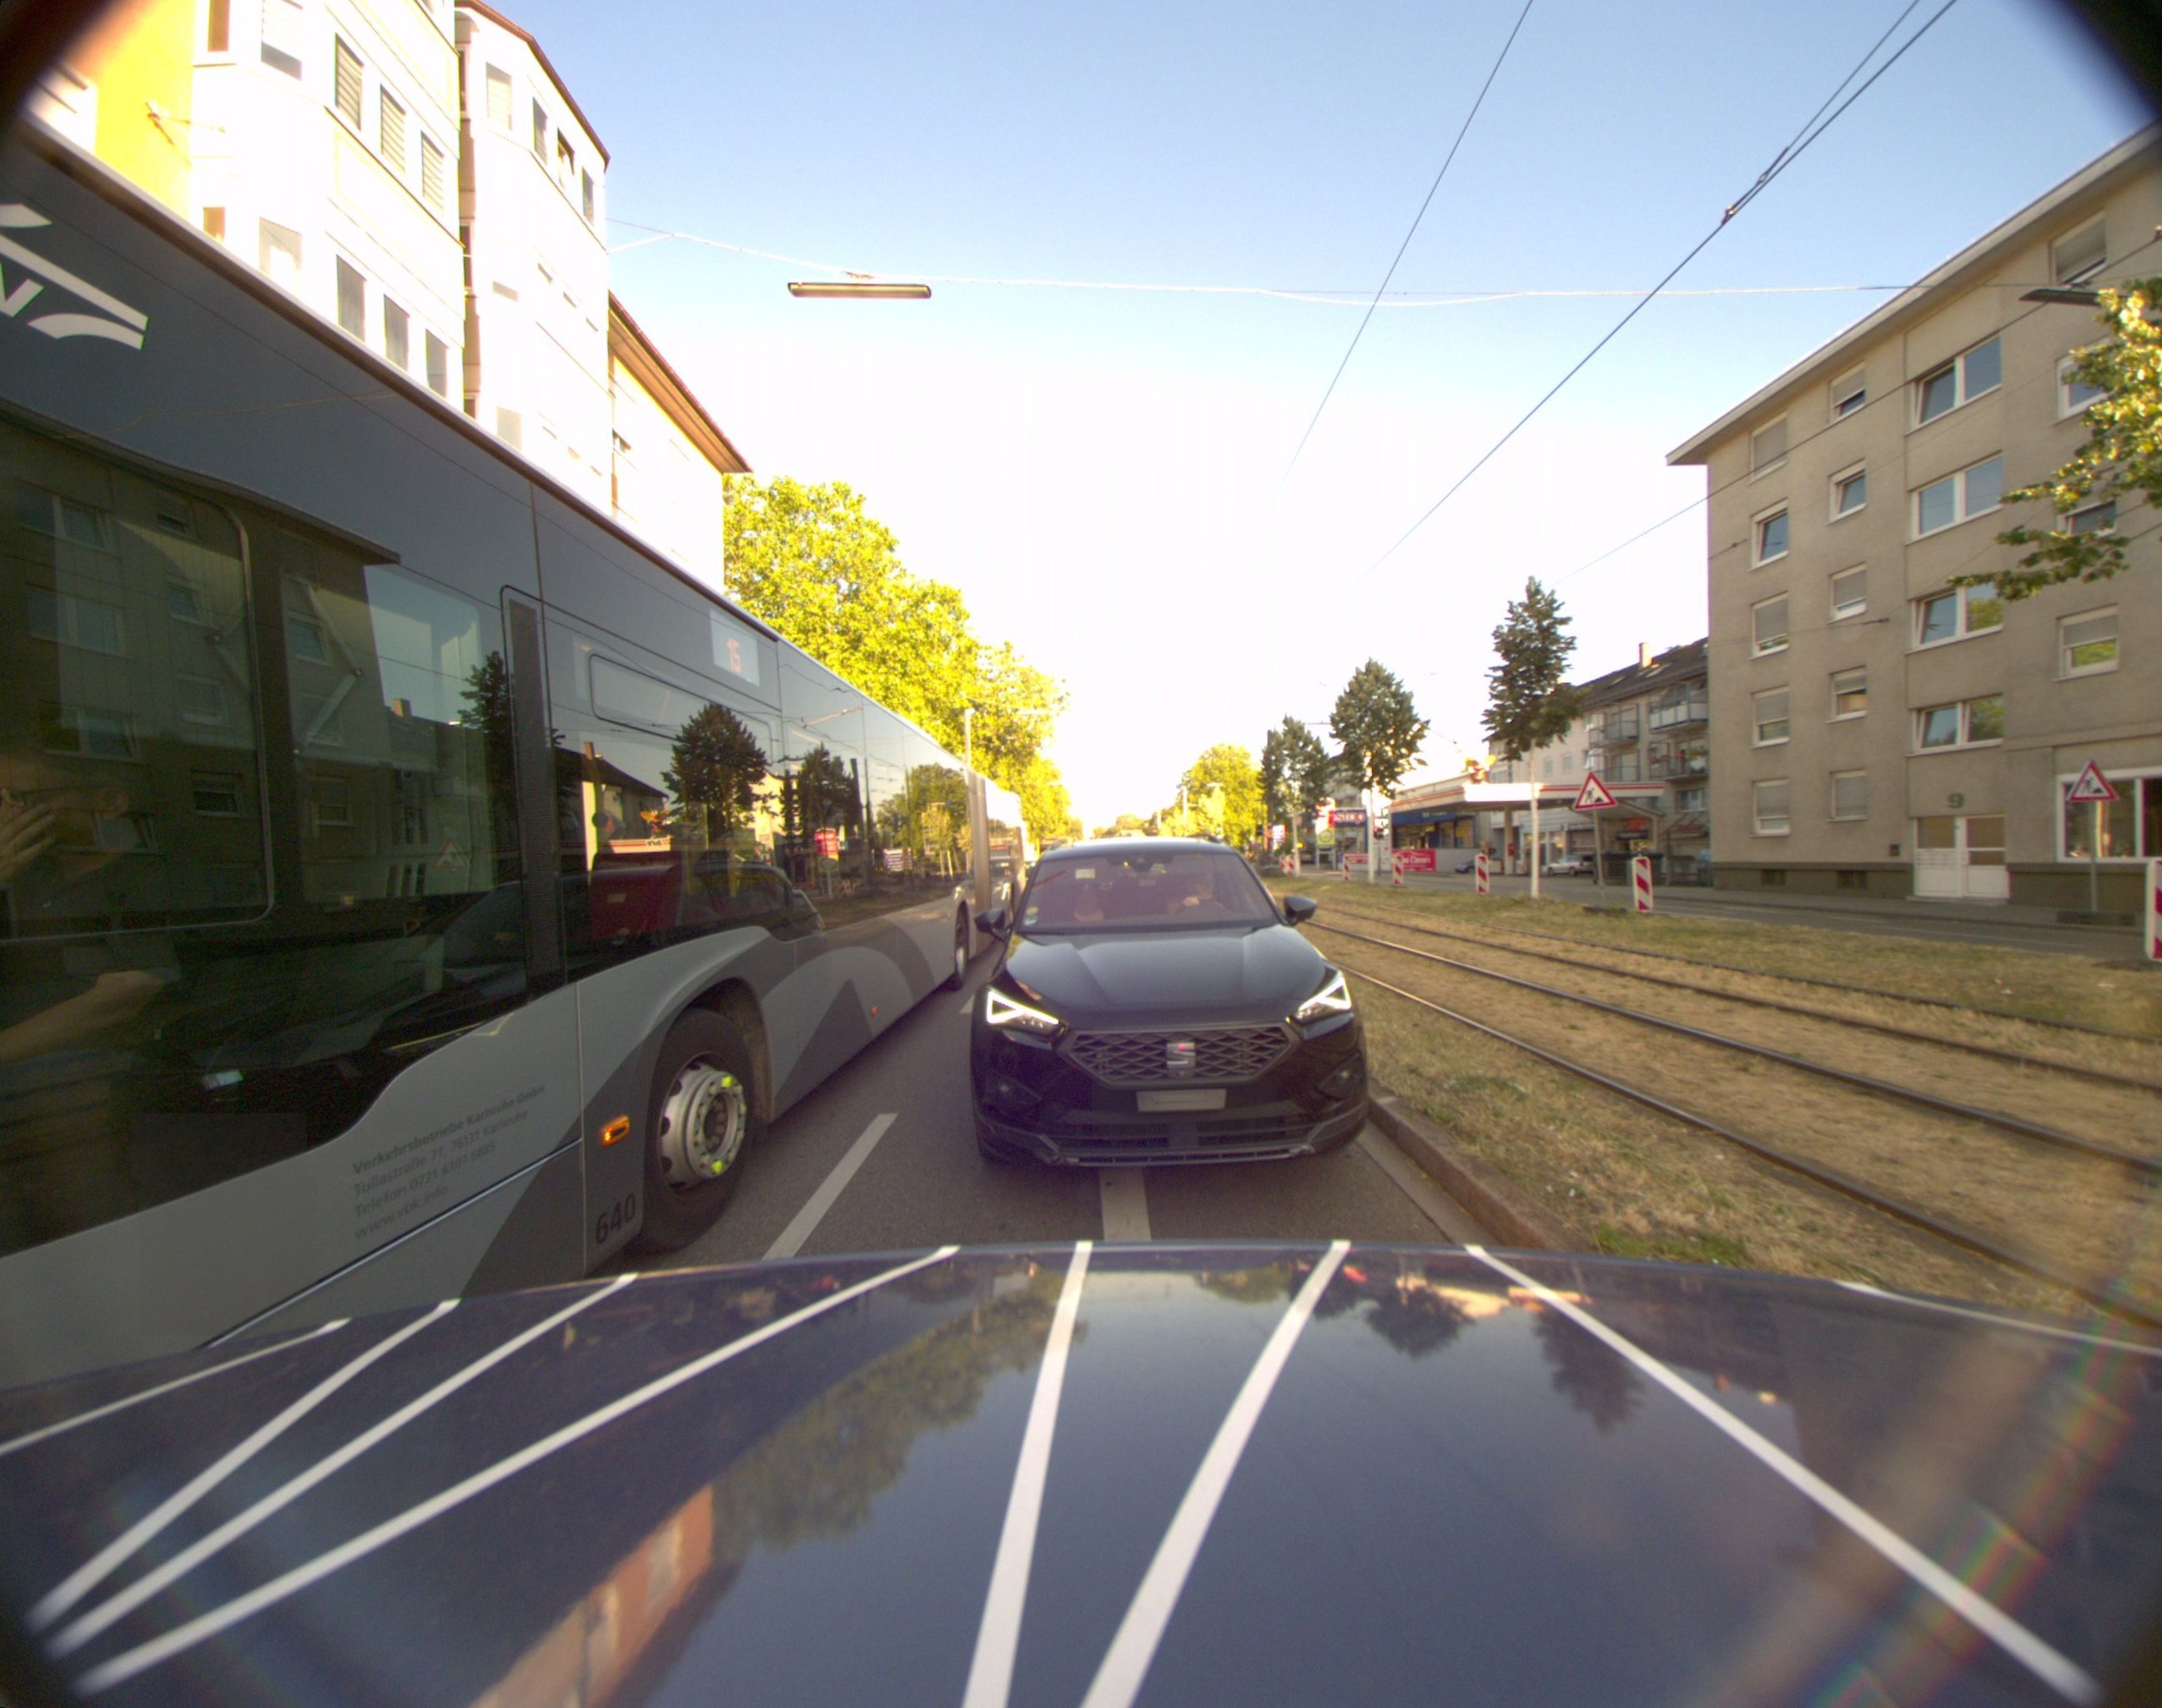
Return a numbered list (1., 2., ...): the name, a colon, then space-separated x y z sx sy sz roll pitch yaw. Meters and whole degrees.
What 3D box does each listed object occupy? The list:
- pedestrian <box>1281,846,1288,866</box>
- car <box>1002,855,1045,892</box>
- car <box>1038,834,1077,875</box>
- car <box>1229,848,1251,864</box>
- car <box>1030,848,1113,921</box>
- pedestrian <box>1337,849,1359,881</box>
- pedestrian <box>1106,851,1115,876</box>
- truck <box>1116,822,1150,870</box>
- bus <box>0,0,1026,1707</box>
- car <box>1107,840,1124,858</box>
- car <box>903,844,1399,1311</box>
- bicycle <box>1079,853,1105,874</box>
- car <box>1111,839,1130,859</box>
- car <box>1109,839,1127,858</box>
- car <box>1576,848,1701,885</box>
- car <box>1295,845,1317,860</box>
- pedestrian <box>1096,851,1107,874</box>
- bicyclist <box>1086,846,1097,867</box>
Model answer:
1. pedestrian: 21.005 0.223 78.474 0.632 2.002 0.583 0 1 2
2. car: -2.696 0.886 36.326 1.750 1.598 3.823 -2 1 -1
3. car: -1.723 -0.001 58.312 2.681 2.875 5.452 -2 1 0
4. car: 16.896 0.206 80.823 1.723 1.601 3.828 -2 1 3
5. car: -0.211 0.754 20.653 1.998 1.739 4.000 -2 0 1
6. pedestrian: 10.998 0.443 31.271 0.664 1.263 0.581 -2 0 1
7. pedestrian: 2.393 0.775 61.743 0.625 2.002 0.695 -2 0 0
8. truck: 4.306 -0.688 64.395 2.306 3.798 7.723 -2 1 1
9. bus: -2.809 0.133 9.080 2.773 3.131 17.740 -2 0 1
10. car: 3.982 -0.622 87.878 1.767 2.002 3.791 -2 1 1
11. car: 0.290 0.842 4.858 1.774 1.667 4.000 -3 0 1
12. bicycle: 0.660 0.562 46.380 1.474 1.213 0.525 -2 1 -17
13. car: 4.055 -0.521 78.524 1.767 2.002 3.791 -2 1 1
14. car: 4.094 -0.578 83.557 1.767 2.002 3.791 -2 1 1
15. car: 22.769 0.512 31.144 3.727 1.460 1.908 0 -1 0
16. car: 25.090 -0.200 84.818 1.781 1.547 4.002 -2 1 9
17. pedestrian: 1.398 0.575 51.056 0.509 1.552 0.700 -2 1 16
18. bicyclist: 0.667 0.156 46.338 0.500 1.303 0.499 -3 1 -17
